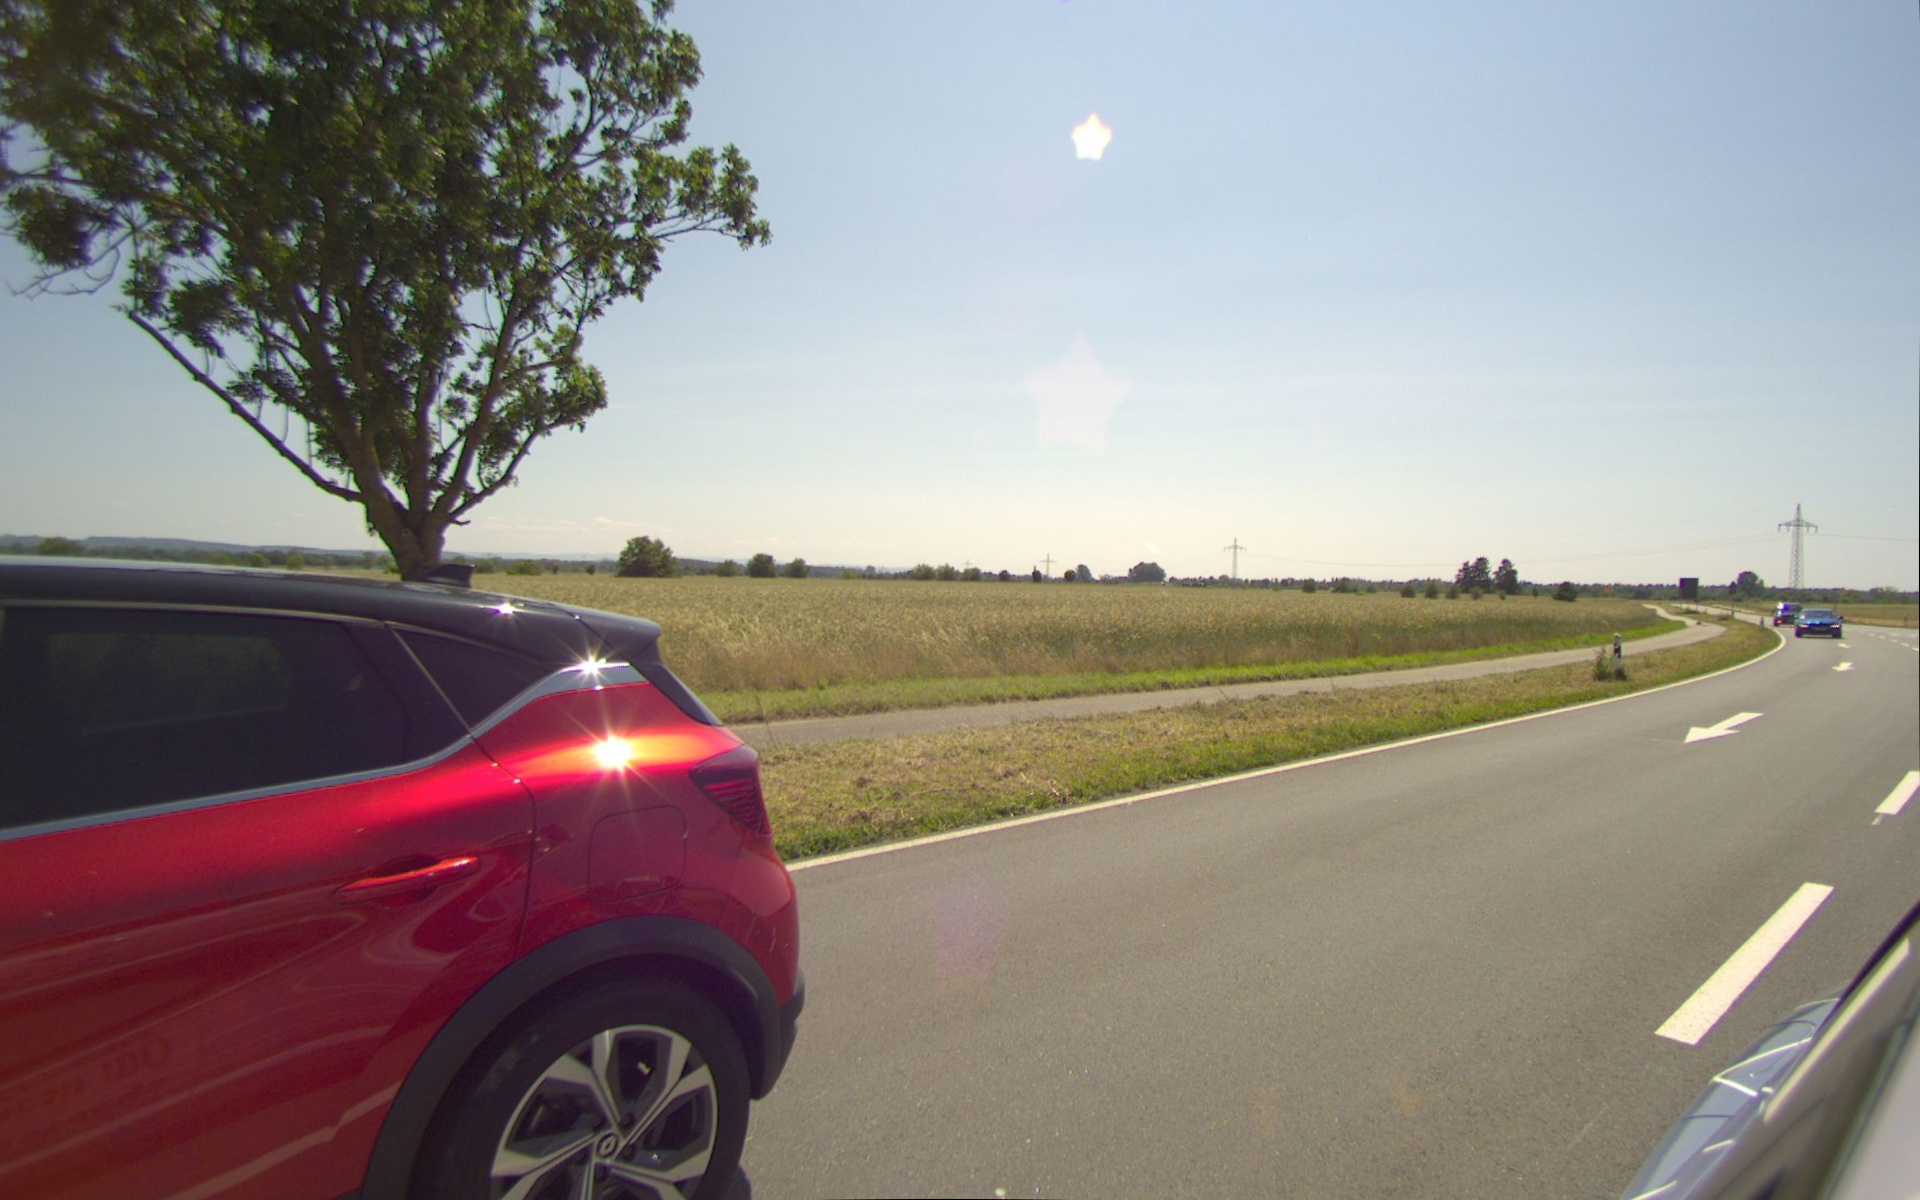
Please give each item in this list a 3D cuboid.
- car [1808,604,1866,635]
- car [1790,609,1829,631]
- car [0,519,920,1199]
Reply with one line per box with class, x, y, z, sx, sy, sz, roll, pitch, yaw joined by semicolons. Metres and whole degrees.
car;45.090;0.977;52.046;2.182;1.485;4.939;0;0;41
car;62.460;1.469;74.460;2.181;1.485;4.941;0;0;40
car;-2.318;0.665;1.870;4.373;1.572;1.824;0;0;-43
